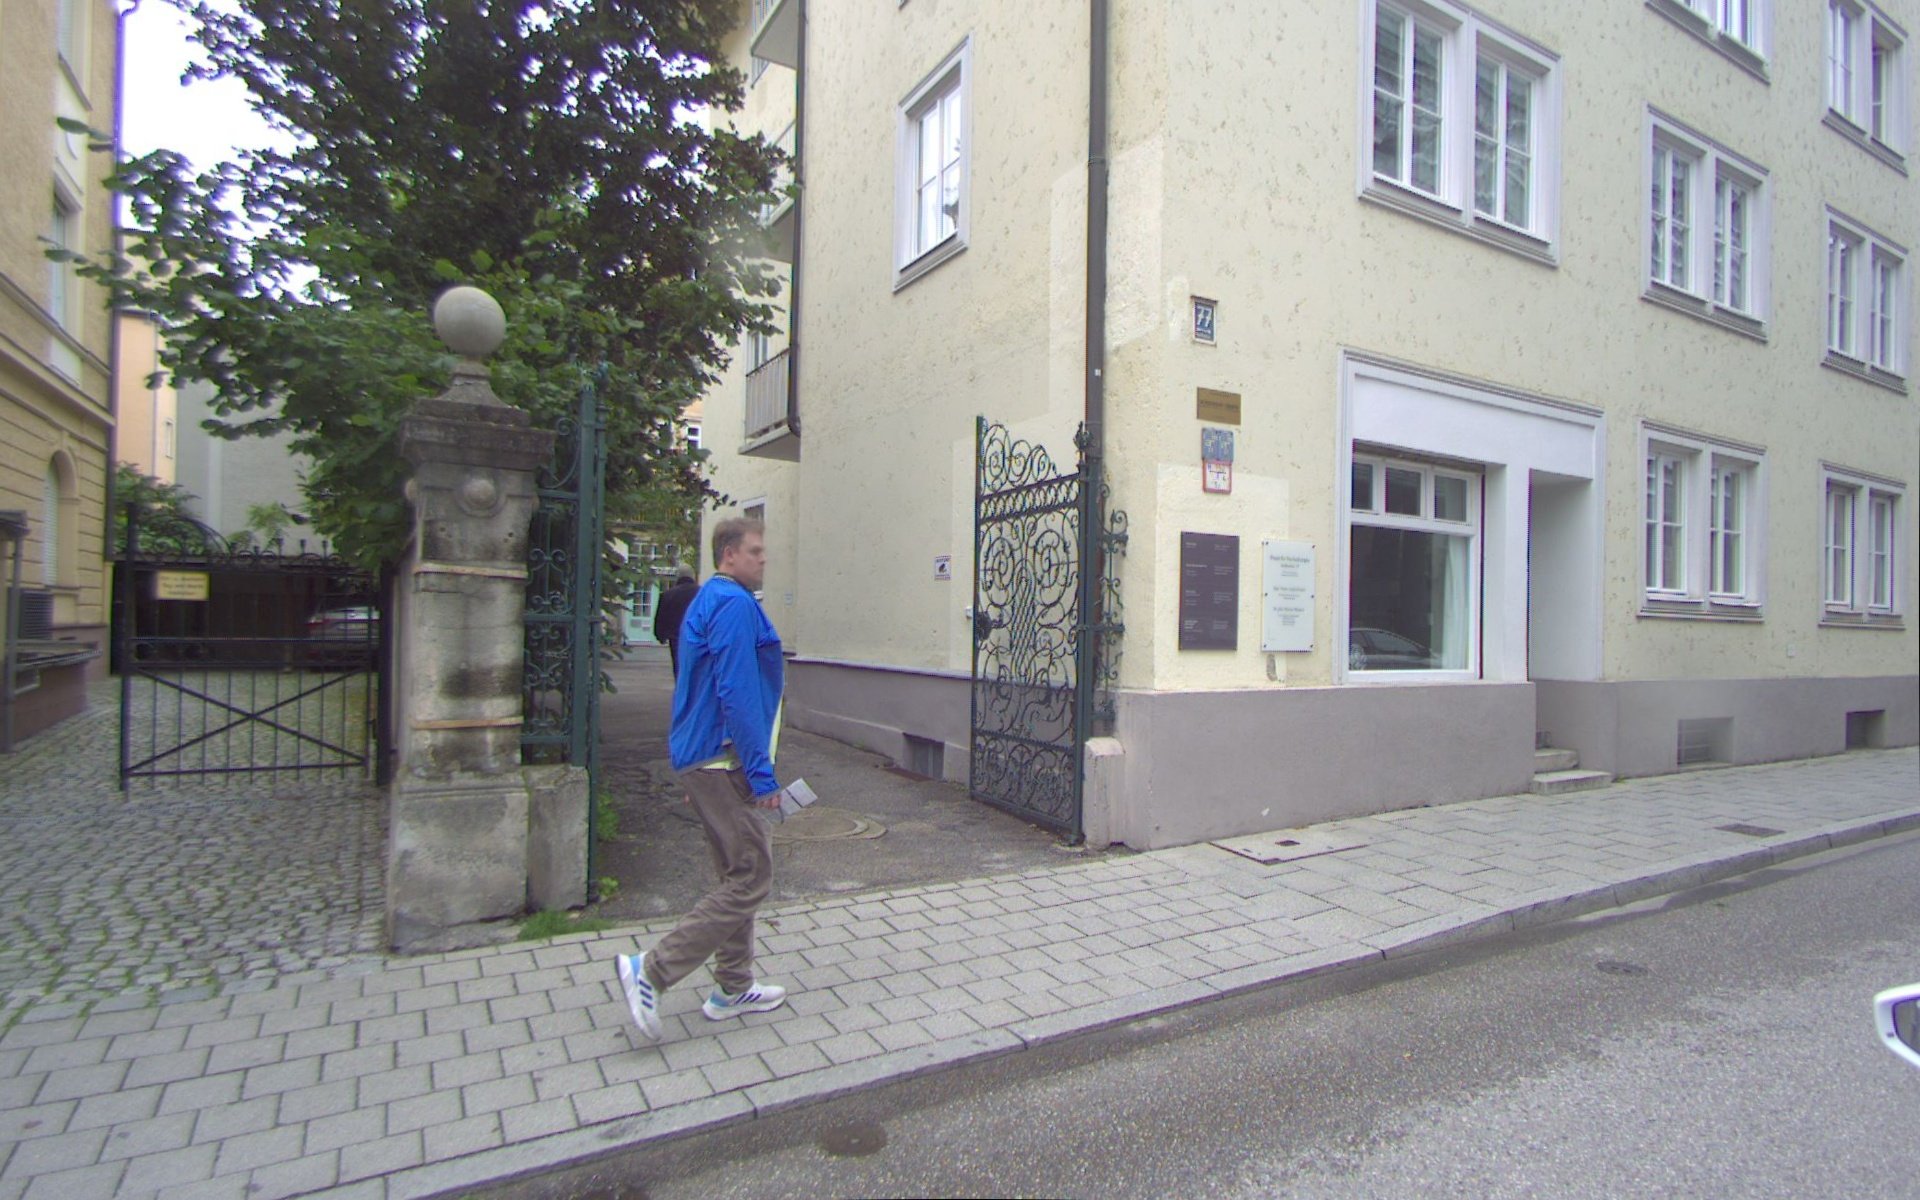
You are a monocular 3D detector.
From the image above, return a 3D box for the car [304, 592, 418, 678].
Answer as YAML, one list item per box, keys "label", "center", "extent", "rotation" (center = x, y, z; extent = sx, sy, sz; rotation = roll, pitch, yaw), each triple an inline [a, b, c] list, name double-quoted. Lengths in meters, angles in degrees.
- label: "car"
  center: [-12.582, 0.678, 21.285]
  extent: [1.612, 1.561, 3.709]
  rotation: [2, 1, -24]

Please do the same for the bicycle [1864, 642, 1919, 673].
- label: "bicycle"
  center: [35.055, 2.141, 37.629]
  extent: [0.590, 1.083, 1.650]
  rotation: [1, 0, -26]

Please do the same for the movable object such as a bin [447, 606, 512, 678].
- label: "movable object such as a bin"
  center: [-9.747, 0.841, 20.442]
  extent: [1.092, 1.422, 1.221]
  rotation: [1, -1, -23]

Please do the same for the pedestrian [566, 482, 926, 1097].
- label: "pedestrian"
  center: [-0.792, 0.589, 3.663]
  extent: [1.064, 1.879, 0.753]
  rotation: [2, 0, -30]

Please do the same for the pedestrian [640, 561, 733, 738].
- label: "pedestrian"
  center: [-3.047, 0.533, 11.146]
  extent: [0.894, 1.851, 0.952]
  rotation: [1, -1, -20]

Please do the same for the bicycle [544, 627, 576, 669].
- label: "bicycle"
  center: [-9.788, 1.163, 24.635]
  extent: [0.688, 0.985, 1.879]
  rotation: [1, -1, -21]
